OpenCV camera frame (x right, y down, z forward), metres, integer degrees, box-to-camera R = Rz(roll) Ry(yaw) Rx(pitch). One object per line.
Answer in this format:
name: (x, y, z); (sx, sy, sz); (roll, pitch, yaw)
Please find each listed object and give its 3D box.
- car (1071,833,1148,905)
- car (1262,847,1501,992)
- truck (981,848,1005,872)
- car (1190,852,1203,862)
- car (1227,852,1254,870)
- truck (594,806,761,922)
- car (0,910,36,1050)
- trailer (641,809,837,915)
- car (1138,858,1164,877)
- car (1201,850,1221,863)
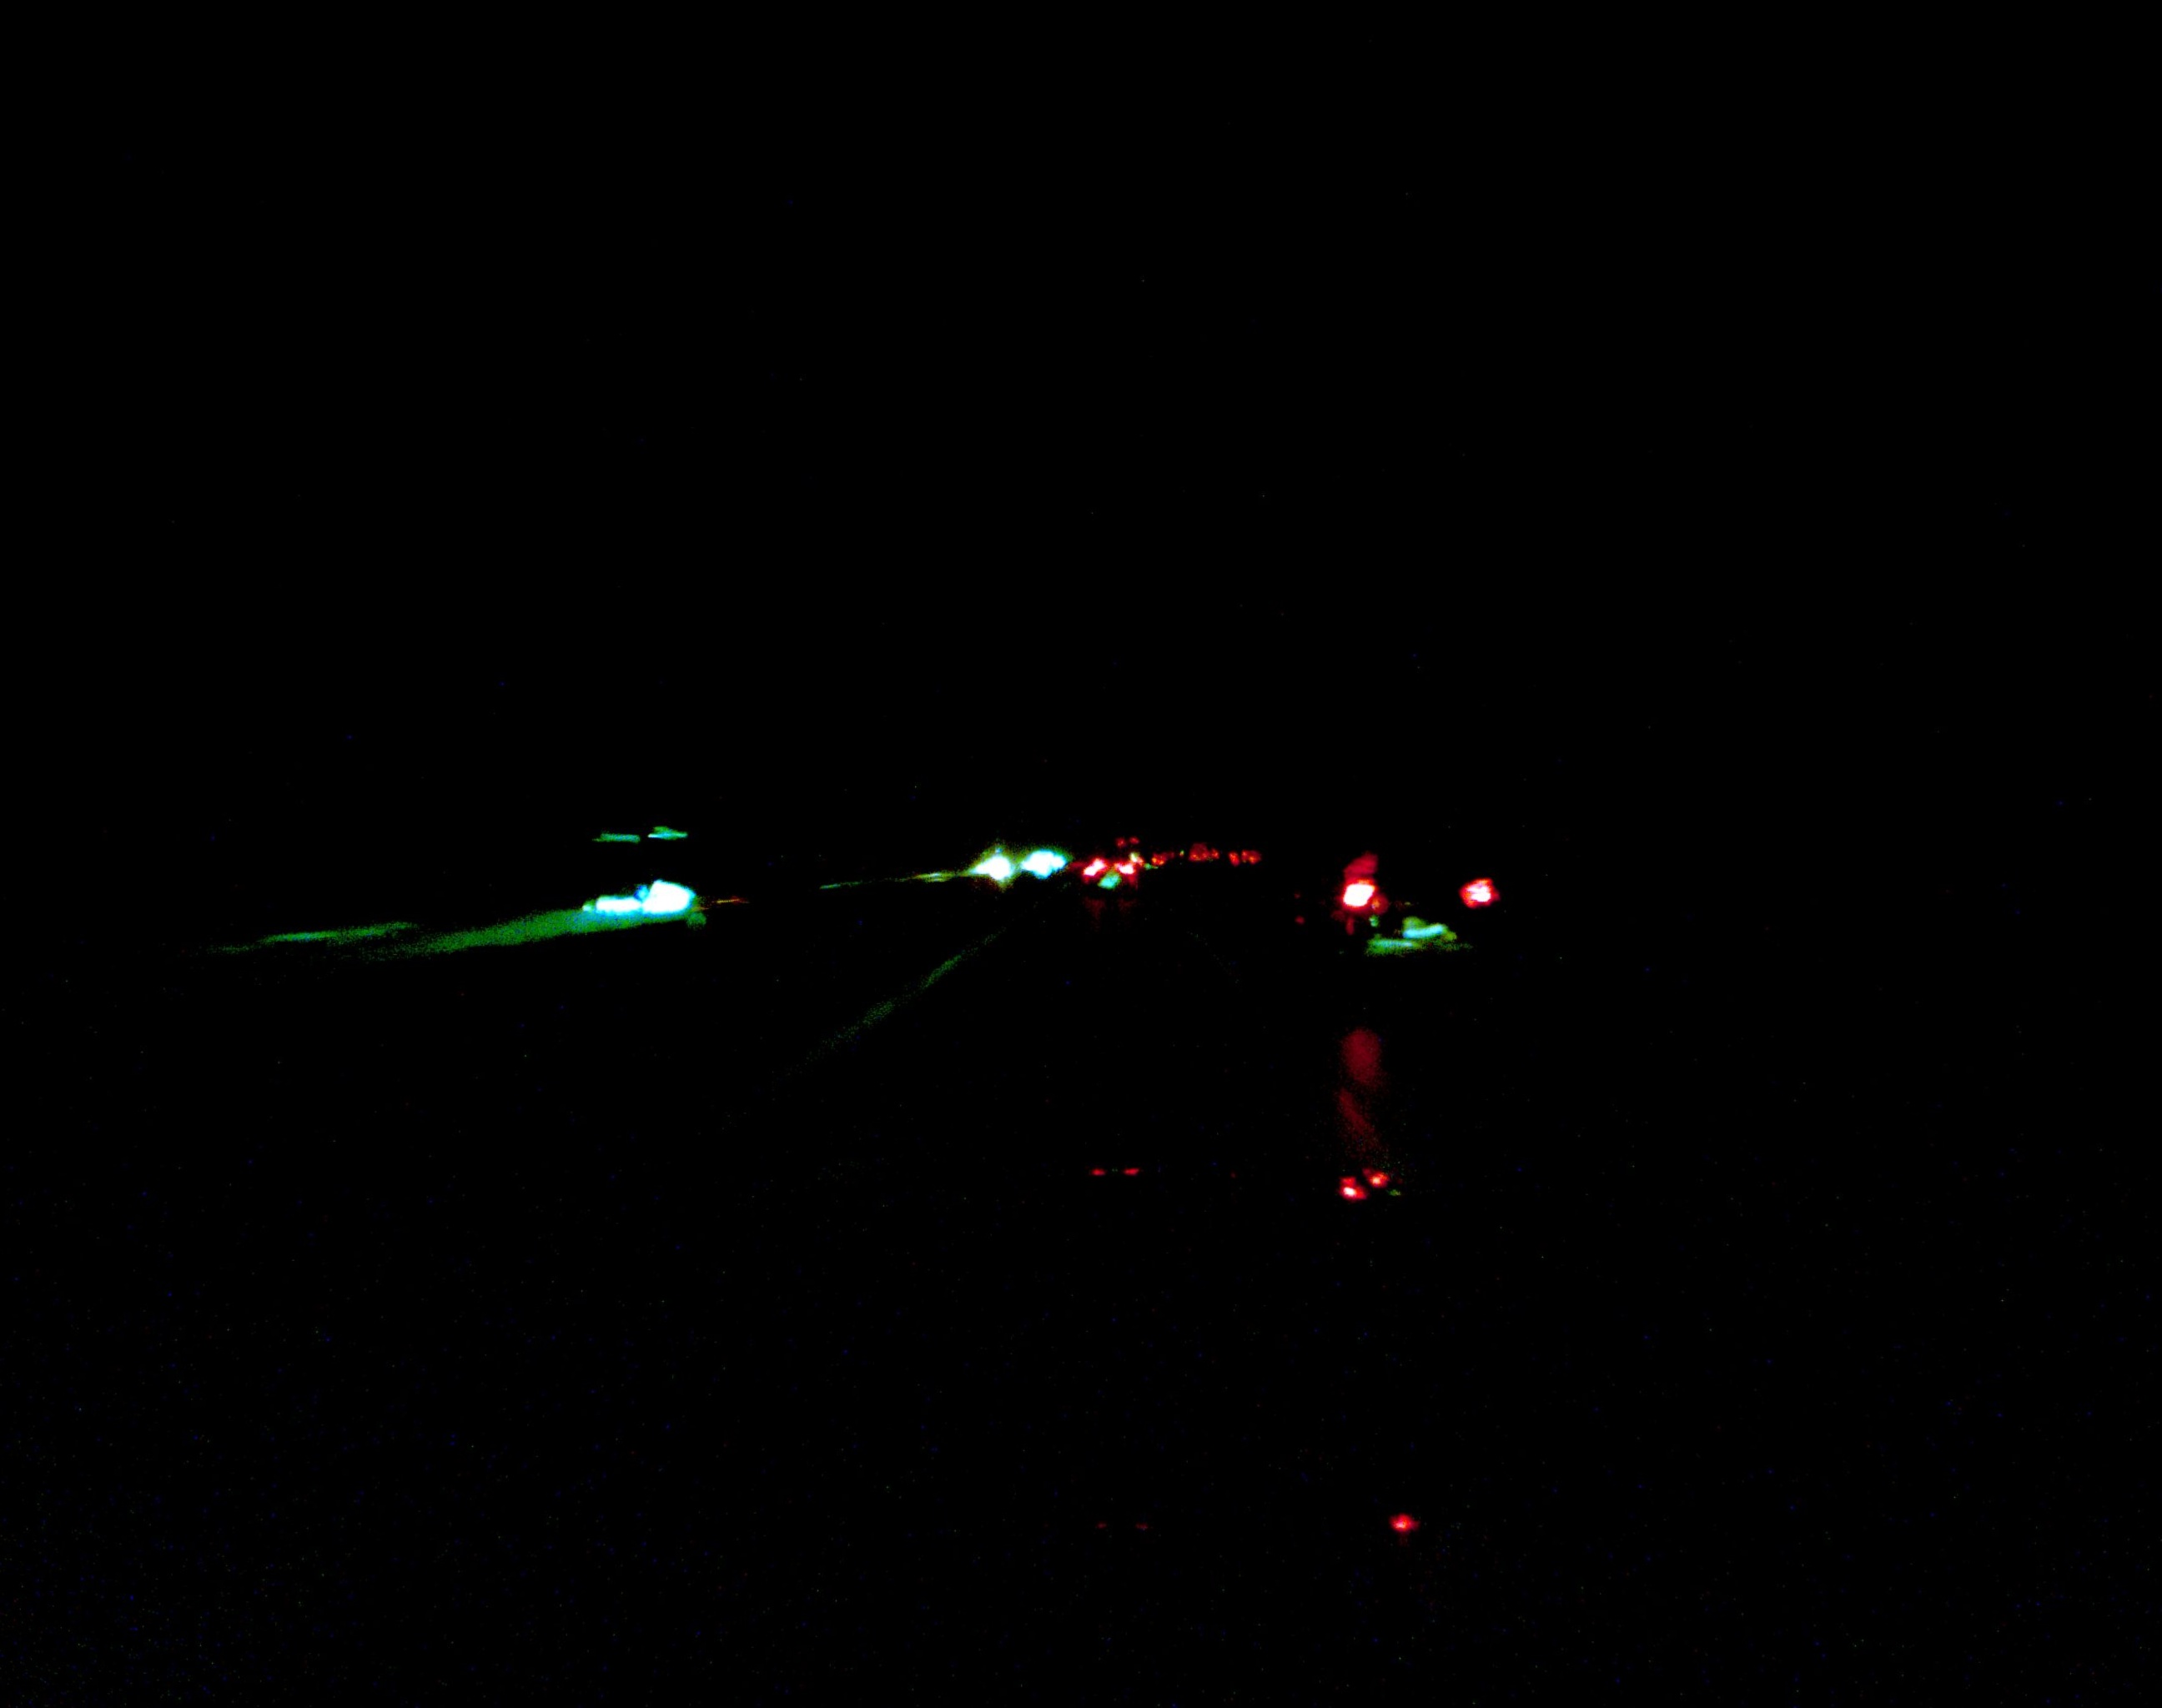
car: (1.073, 0.531, 32.893); (2.701, 2.534, 5.831); (-3, 0, 0)
car: (3.774, 0.725, 11.038); (1.877, 1.588, 4.002); (0, 0, 2)
truck: (-13.334, 0.891, 123.806); (2.631, 3.580, 6.178); (-1, 0, 2)
car: (17.400, 0.445, 122.764); (1.704, 1.558, 4.007); (0, 0, 6)
car: (14.703, 0.657, 75.179); (1.848, 1.618, 4.003); (0, 0, 3)
truck: (-16.006, 0.353, 33.009); (2.910, 4.094, 6.996); (-3, 0, 2)
car: (-13.304, 1.469, 7.631); (1.790, 1.574, 3.975); (-2, 0, 2)
trailer: (-15.796, 0.310, 39.641); (2.956, 4.094, 14.227); (-3, 0, 2)
car: (6.183, 1.181, 72.316); (2.128, 1.618, 4.003); (0, 0, 3)
car: (15.894, 0.334, 99.862); (1.849, 1.618, 4.001); (0, 0, 1)
